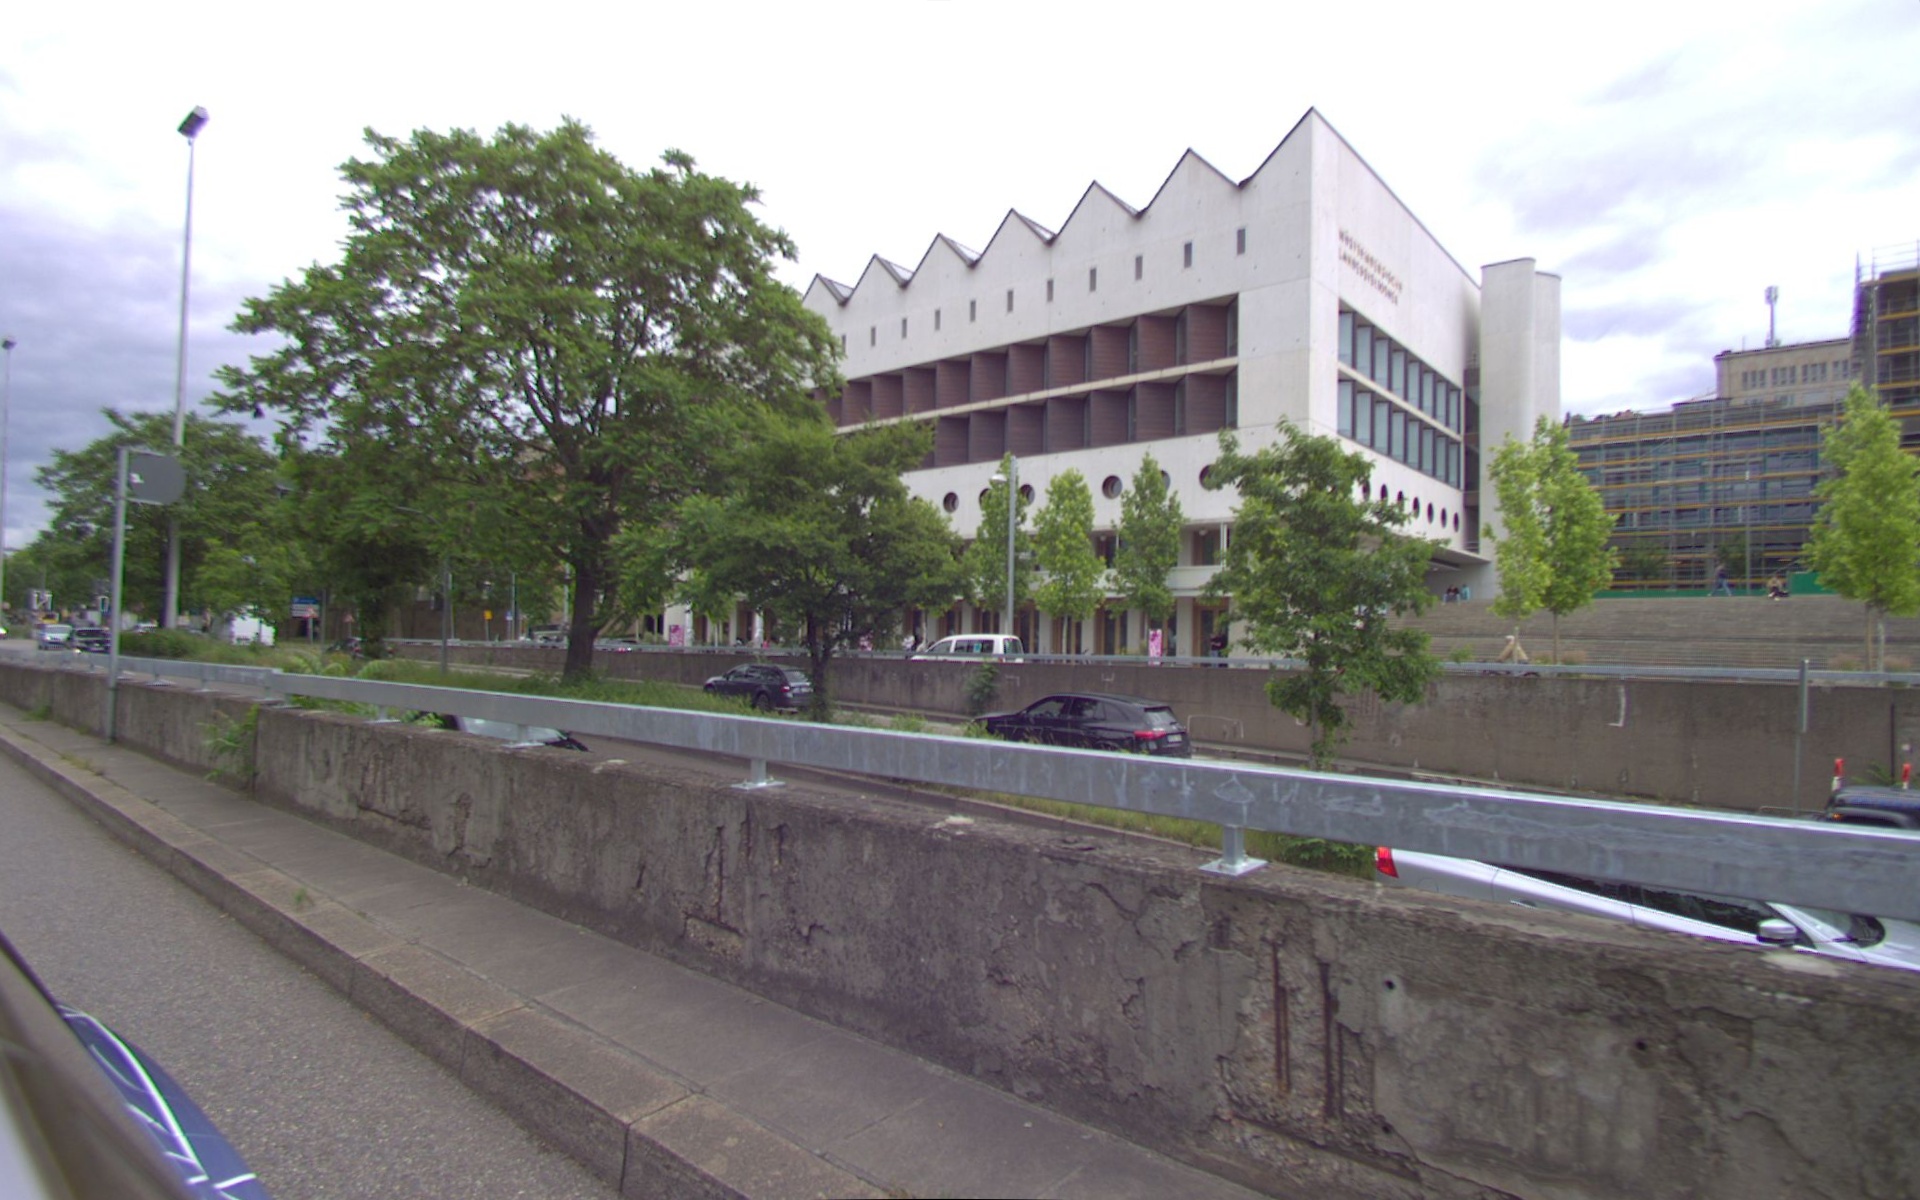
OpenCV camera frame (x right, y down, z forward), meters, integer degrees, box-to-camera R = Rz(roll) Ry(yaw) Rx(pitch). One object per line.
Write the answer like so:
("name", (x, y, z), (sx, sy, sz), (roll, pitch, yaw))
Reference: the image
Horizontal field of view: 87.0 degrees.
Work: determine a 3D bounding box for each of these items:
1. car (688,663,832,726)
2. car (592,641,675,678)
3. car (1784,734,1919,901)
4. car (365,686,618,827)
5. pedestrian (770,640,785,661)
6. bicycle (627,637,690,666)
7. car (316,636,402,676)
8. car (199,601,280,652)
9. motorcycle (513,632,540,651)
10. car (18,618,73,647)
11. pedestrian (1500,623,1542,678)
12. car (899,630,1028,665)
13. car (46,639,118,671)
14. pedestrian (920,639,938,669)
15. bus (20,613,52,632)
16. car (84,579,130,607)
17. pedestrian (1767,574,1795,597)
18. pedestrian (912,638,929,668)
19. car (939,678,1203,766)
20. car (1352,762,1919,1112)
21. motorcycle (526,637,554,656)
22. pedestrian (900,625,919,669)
("car", (-6.238, 2.865, 31.276), (4.574, 1.550, 1.860), (0, 0, 39))
("car", (-16.360, 2.940, 50.624), (4.387, 1.730, 1.838), (-1, -4, 39))
("car", (14.119, 3.040, 13.413), (4.903, 1.911, 1.798), (0, 0, 42))
("car", (-7.077, 2.208, 15.133), (4.147, 1.527, 1.746), (0, -1, 38))
("pedestrian", (-11.627, 3.193, 64.400), (0.777, 1.337, 0.672), (1, -2, -21))
("bicycle", (-18.264, 3.116, 61.339), (1.182, 1.697, 3.576), (-2, -4, 40))
("car", (-25.889, 2.380, 43.572), (3.994, 1.498, 1.883), (0, 0, 38))
("car", (-39.288, 1.379, 55.104), (6.056, 2.543, 2.300), (1, 1, 41))
("motorcycle", (-30.074, 2.897, 70.220), (0.653, 1.243, 1.879), (2, -2, 17))
("car", (-54.511, 1.924, 60.305), (3.998, 1.658, 1.973), (-2, -2, 41))
("pedestrian", (17.465, 1.559, 31.504), (1.004, 1.653, 0.727), (-2, -3, 41))
("car", (0.083, 1.728, 37.730), (4.805, 1.127, 1.790), (0, 0, 41))
("car", (-43.297, 2.669, 49.852), (4.806, 1.494, 1.973), (-1, -3, 41))
("pedestrian", (-1.676, 2.913, 54.832), (0.899, 1.535, 0.634), (-4, -8, -1))
("bus", (-166.520, 3.984, 182.355), (10.443, 3.330, 2.882), (-1, -3, 41))
("car", (-59.175, -0.481, 70.186), (4.444, 1.730, 1.837), (-1, -4, 42))
("pedestrian", (33.224, -0.590, 40.969), (0.859, 0.890, 0.635), (0, 3, 41))
("pedestrian", (-2.107, 2.806, 53.899), (0.899, 1.535, 0.634), (1, -8, -1))
("car", (2.058, 2.268, 19.671), (4.845, 1.151, 1.973), (0, 0, 40))
("car", (5.772, 2.405, 7.832), (4.737, 1.629, 1.972), (0, -2, 42))
("motorcycle", (-28.720, 3.165, 69.267), (0.653, 1.243, 1.879), (2, -2, 17))
("pedestrian", (-2.394, 2.215, 48.050), (0.630, 2.029, 0.626), (0, 0, 42))
